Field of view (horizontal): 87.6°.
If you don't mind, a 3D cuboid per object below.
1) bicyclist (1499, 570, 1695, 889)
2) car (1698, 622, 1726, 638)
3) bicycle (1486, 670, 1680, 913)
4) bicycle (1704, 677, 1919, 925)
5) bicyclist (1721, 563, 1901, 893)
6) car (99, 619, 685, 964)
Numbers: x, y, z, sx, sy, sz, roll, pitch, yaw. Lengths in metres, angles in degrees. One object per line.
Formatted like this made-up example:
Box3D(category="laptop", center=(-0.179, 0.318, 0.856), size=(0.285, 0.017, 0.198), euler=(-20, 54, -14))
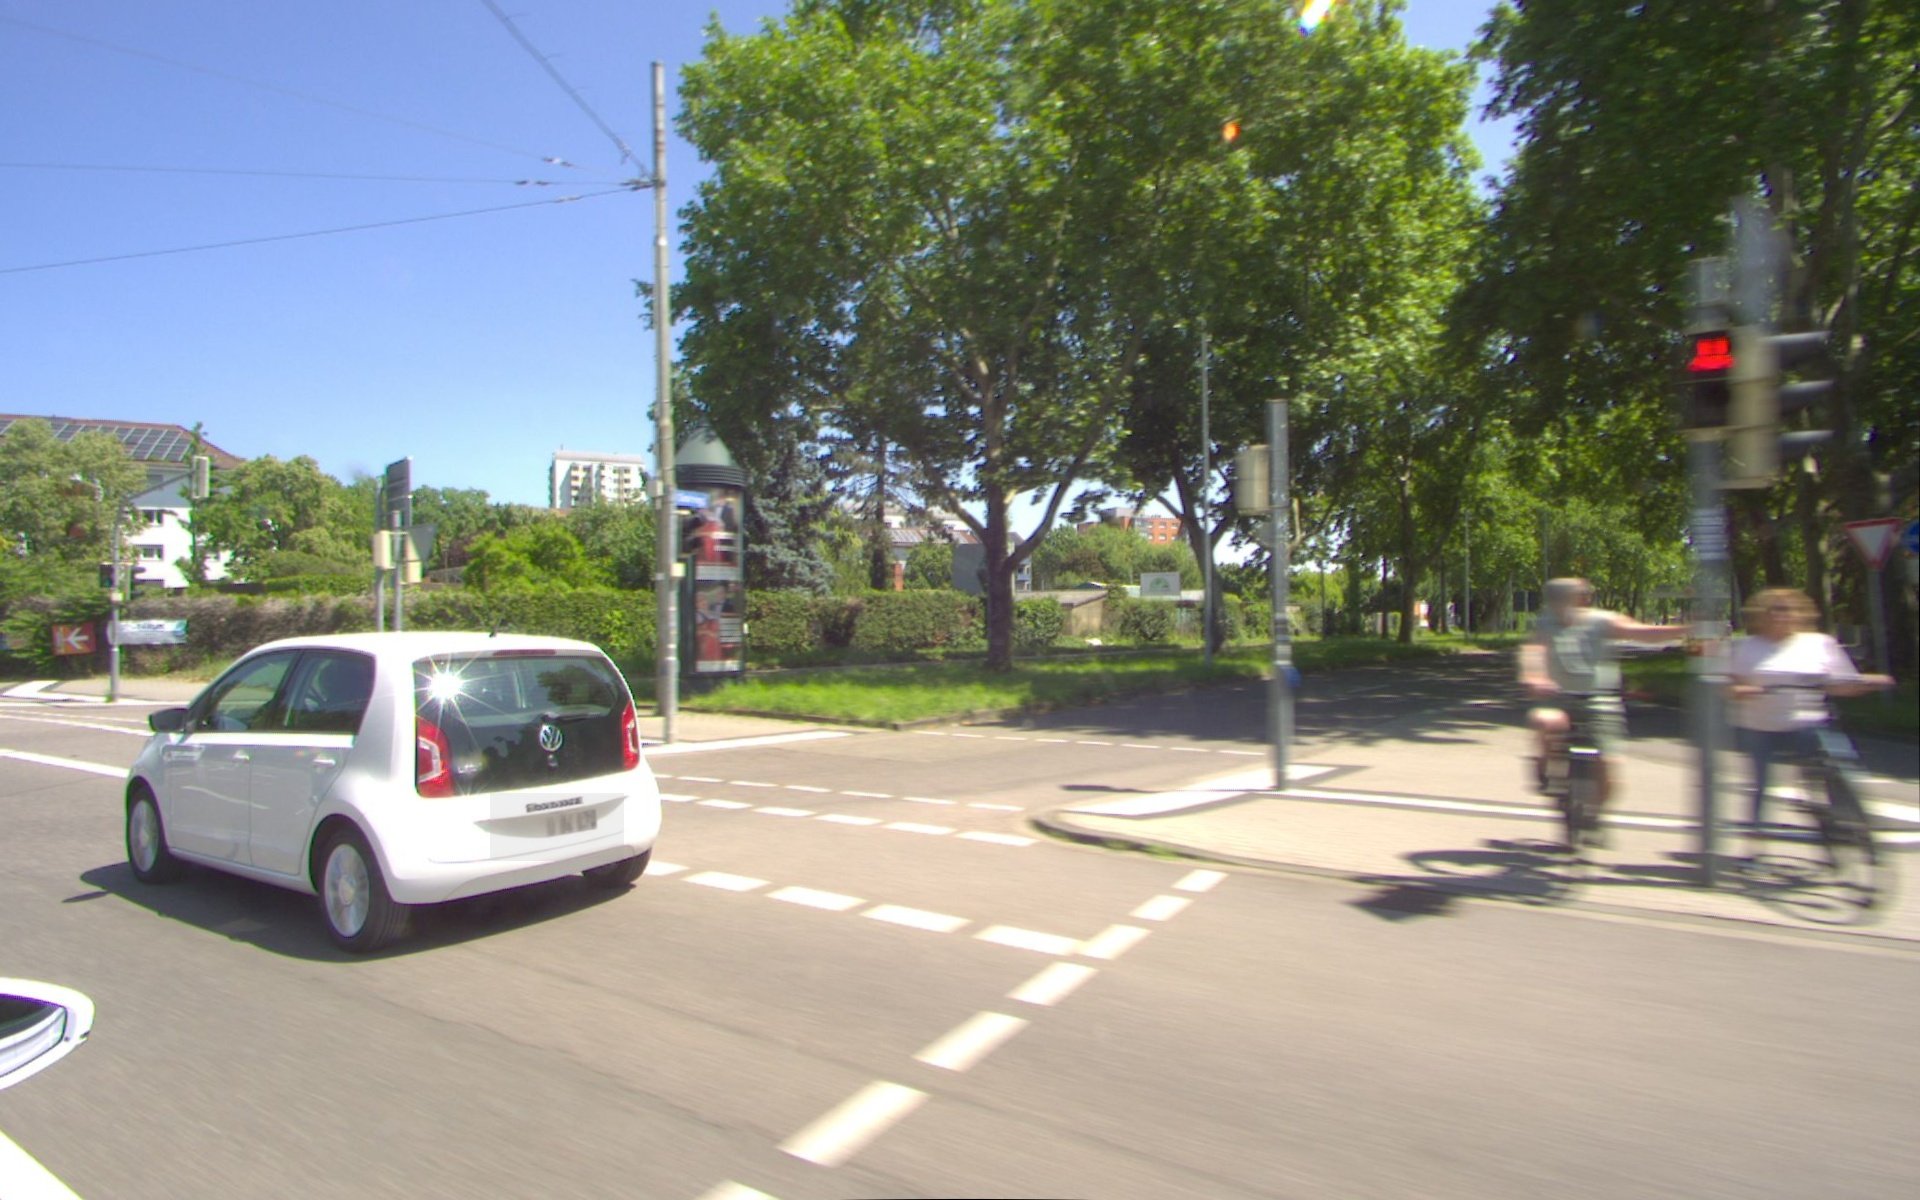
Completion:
Box3D(category="bicyclist", center=(3.972, 0.753, 6.263), size=(0.963, 1.811, 0.722), euler=(-1, -1, 35))
Box3D(category="car", center=(70.978, 2.819, 94.505), size=(1.690, 1.463, 3.356), euler=(-2, -3, 43))
Box3D(category="bicycle", center=(3.919, 1.064, 6.249), size=(0.883, 1.174, 1.944), euler=(-1, -2, 35))
Box3D(category="bicycle", center=(5.008, 1.063, 5.908), size=(0.884, 1.139, 1.859), euler=(-1, -2, 40))
Box3D(category="bicyclist", center=(5.042, 0.720, 5.968), size=(0.759, 1.810, 0.574), euler=(-1, -3, 40))
Box3D(category="car", center=(-3.408, 0.870, 5.891), size=(3.387, 1.466, 1.607), euler=(-1, -2, 33))
